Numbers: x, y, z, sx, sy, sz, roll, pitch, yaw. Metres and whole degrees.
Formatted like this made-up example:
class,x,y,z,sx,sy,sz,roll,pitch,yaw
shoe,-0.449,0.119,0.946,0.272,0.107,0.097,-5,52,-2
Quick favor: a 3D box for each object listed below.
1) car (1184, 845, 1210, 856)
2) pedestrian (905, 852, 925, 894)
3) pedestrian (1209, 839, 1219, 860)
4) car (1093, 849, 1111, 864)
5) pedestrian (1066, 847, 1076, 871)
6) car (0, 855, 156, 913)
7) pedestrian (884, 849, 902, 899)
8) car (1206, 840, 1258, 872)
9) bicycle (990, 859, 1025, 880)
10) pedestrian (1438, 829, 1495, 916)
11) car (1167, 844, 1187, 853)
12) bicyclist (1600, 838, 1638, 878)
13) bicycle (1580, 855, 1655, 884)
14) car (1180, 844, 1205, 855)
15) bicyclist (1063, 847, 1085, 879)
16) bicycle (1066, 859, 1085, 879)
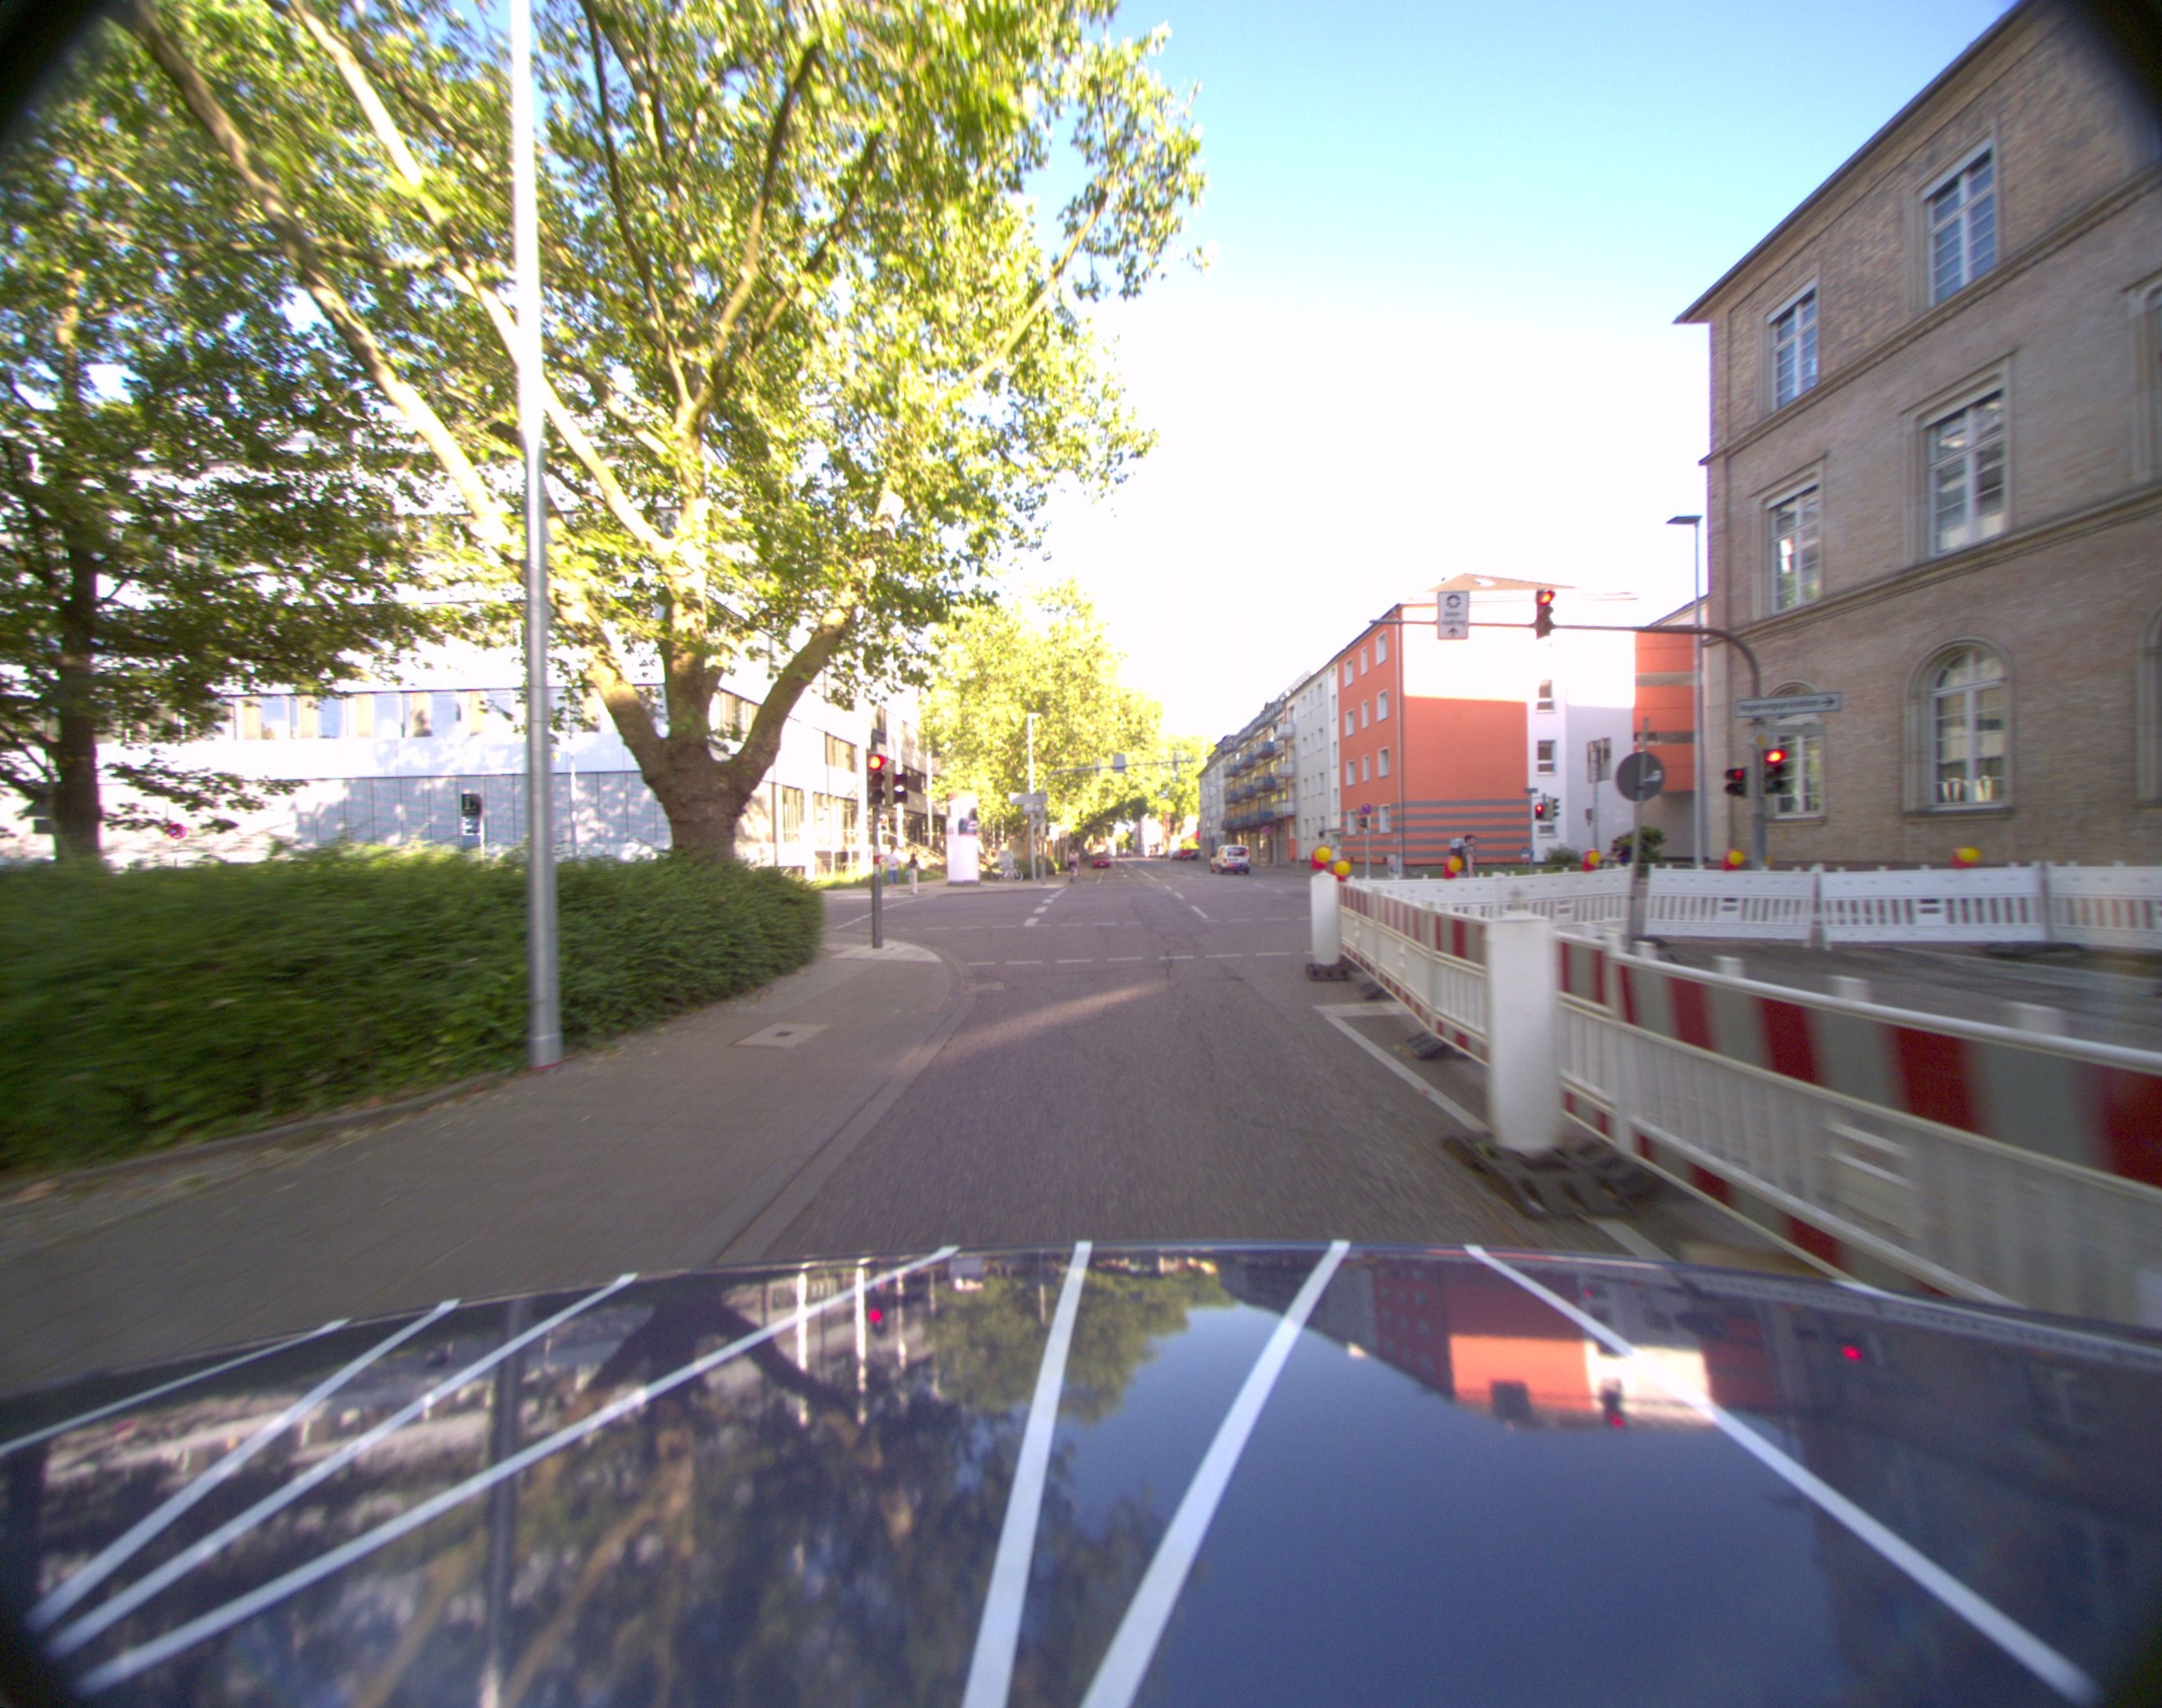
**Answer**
class,x,y,z,sx,sy,sz,roll,pitch,yaw
car,18.667,-0.495,122.534,3.996,1.689,1.834,-1,1,4
pedestrian,-6.246,0.705,28.585,0.673,1.515,0.560,-2,1,-10
pedestrian,15.689,-0.510,89.567,0.913,2.382,1.088,-1,1,2
car,2.231,0.238,81.697,1.786,1.520,4.657,-1,0,1
pedestrian,-0.786,0.363,59.227,0.671,1.786,0.665,-4,2,-4
car,-35.090,1.005,25.801,4.716,1.818,2.109,-1,1,0
pedestrian,-7.065,0.736,28.570,0.604,1.828,0.569,-2,1,-13
car,9.590,0.137,48.772,1.999,1.806,5.124,-3,0,-3
bicycle,-3.721,0.777,38.579,1.638,0.993,0.621,0,3,-23
pedestrian,8.040,0.381,15.882,0.883,1.761,0.748,-1,1,12
car,19.357,-1.144,153.115,3.996,1.689,1.834,-1,1,4
bicyclist,18.843,0.143,26.618,0.837,1.364,0.793,1,-1,15
bicycle,18.791,0.551,26.638,1.988,0.993,0.791,0,-1,15
car,18.764,-0.806,127.769,3.996,1.689,1.834,-1,1,4
bicyclist,-0.348,0.482,40.451,0.949,1.630,1.008,-2,1,10
bicycle,-0.277,0.791,40.527,0.703,1.060,1.930,-1,-1,10
